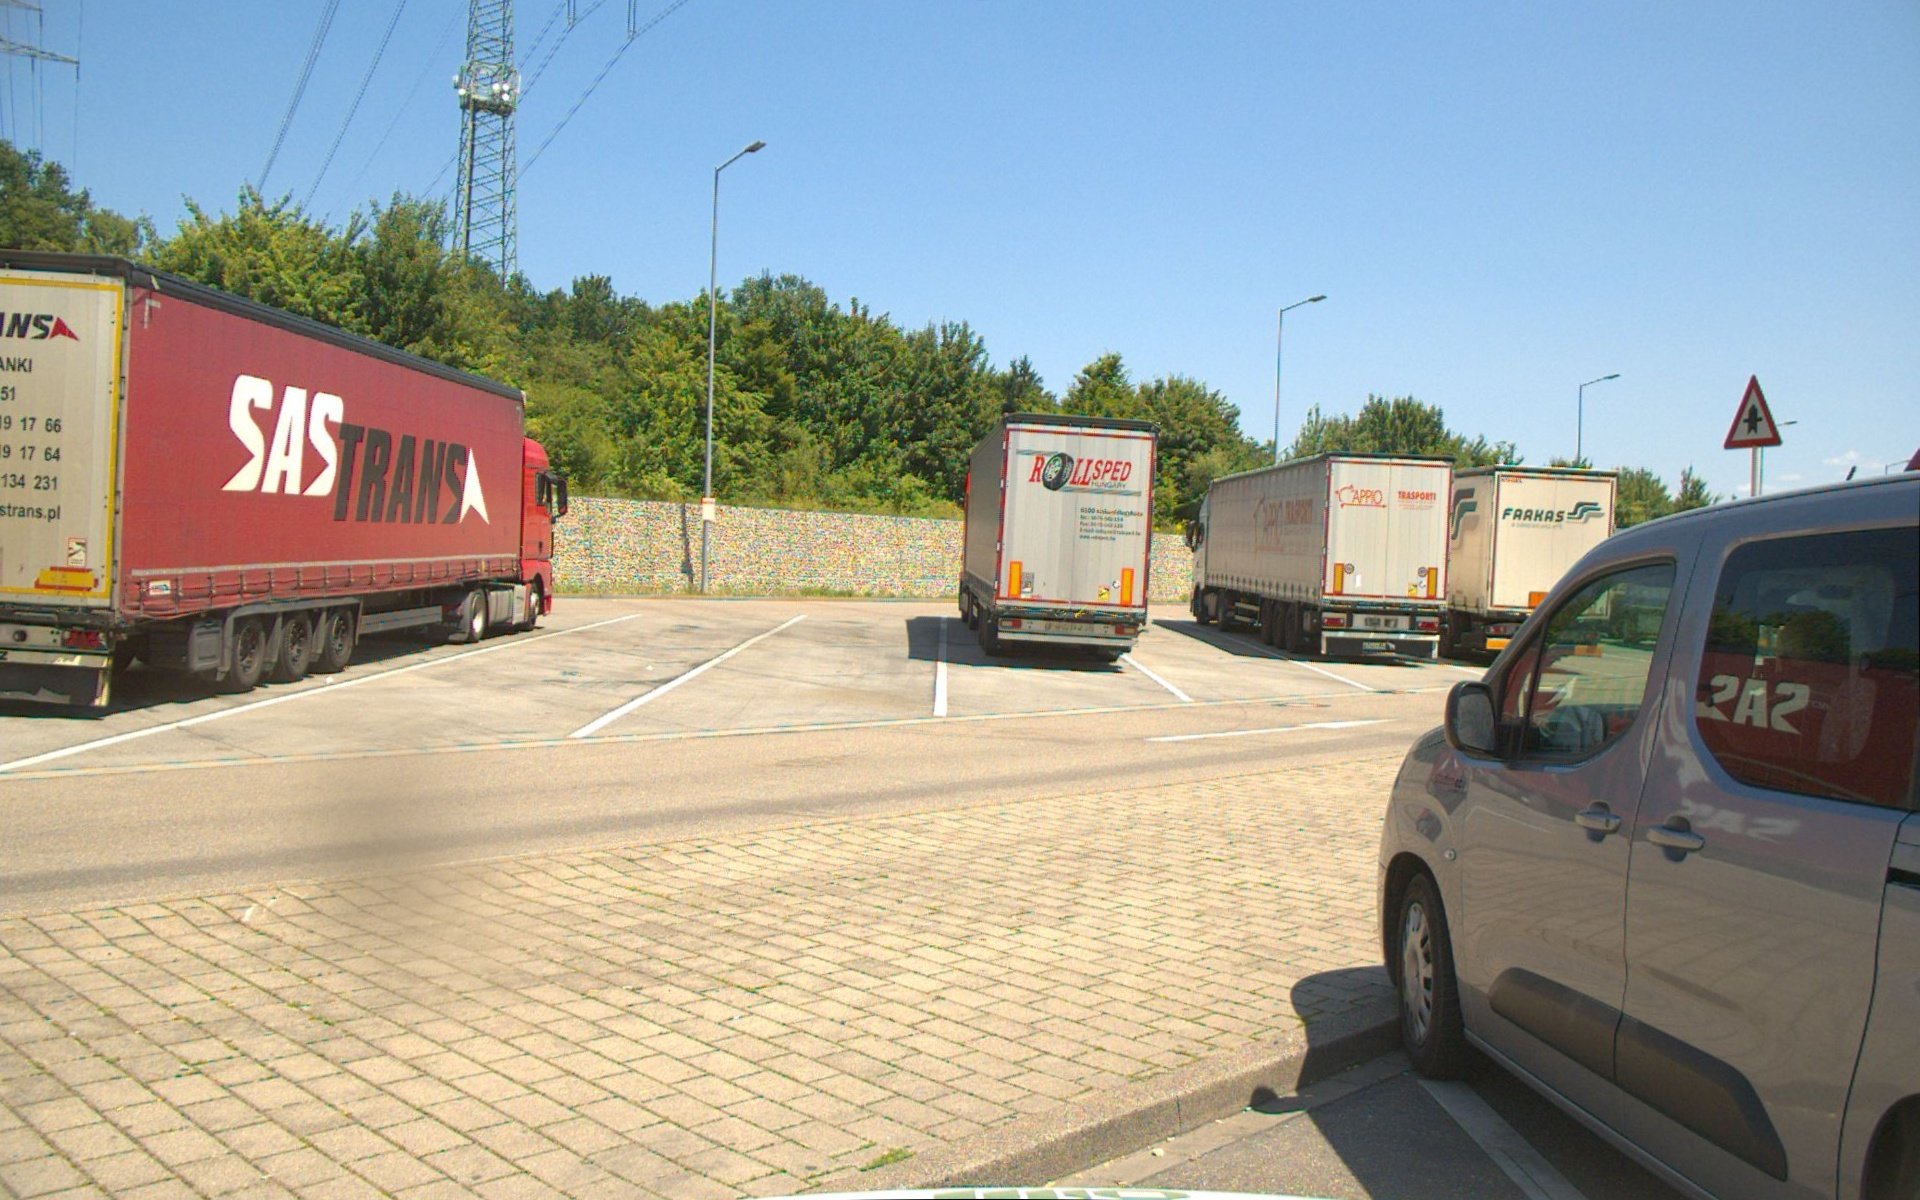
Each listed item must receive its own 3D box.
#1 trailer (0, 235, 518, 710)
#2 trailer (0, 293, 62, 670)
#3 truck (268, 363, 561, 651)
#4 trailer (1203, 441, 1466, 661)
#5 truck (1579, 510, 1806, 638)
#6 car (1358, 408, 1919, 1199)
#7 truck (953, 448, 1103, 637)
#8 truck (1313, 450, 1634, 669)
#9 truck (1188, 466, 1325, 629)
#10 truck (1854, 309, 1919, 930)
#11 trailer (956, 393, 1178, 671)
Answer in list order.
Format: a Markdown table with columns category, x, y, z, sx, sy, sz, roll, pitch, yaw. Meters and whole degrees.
| category | x | y | z | sx | sy | sz | roll | pitch | yaw |
| --- | --- | --- | --- | --- | --- | --- | --- | --- | --- |
| trailer | -8.683 | -1.256 | 21.063 | 2.694 | 4.128 | 13.284 | 1 | 1 | -1 |
| trailer | -12.411 | -1.307 | 15.453 | 2.689 | 4.337 | 9.733 | 1 | 1 | 0 |
| truck | -8.778 | -1.417 | 27.545 | 2.687 | 4.152 | 6.828 | 1 | 1 | -1 |
| trailer | 8.200 | -1.083 | 38.618 | 2.818 | 4.196 | 13.569 | 1 | 1 | -1 |
| truck | 21.951 | -0.804 | 50.195 | 2.963 | 3.497 | 8.529 | 1 | 1 | -1 |
| car | 2.433 | 0.560 | 3.824 | 1.790 | 1.784 | 3.997 | 1 | 1 | -4 |
| truck | 1.461 | -1.376 | 39.452 | 2.965 | 3.997 | 6.845 | 2 | 2 | -2 |
| truck | 11.711 | -0.952 | 40.003 | 2.846 | 4.195 | 14.525 | 3 | 1 | -1 |
| truck | 8.066 | -1.407 | 45.617 | 2.701 | 4.196 | 5.283 | 1 | 1 | -1 |
| truck | 4.979 | 0.132 | 4.945 | 1.952 | 2.669 | 5.305 | 1 | 1 | 3 |
| trailer | 1.695 | -1.311 | 32.686 | 3.008 | 4.301 | 12.805 | 2 | 2 | -2 |
